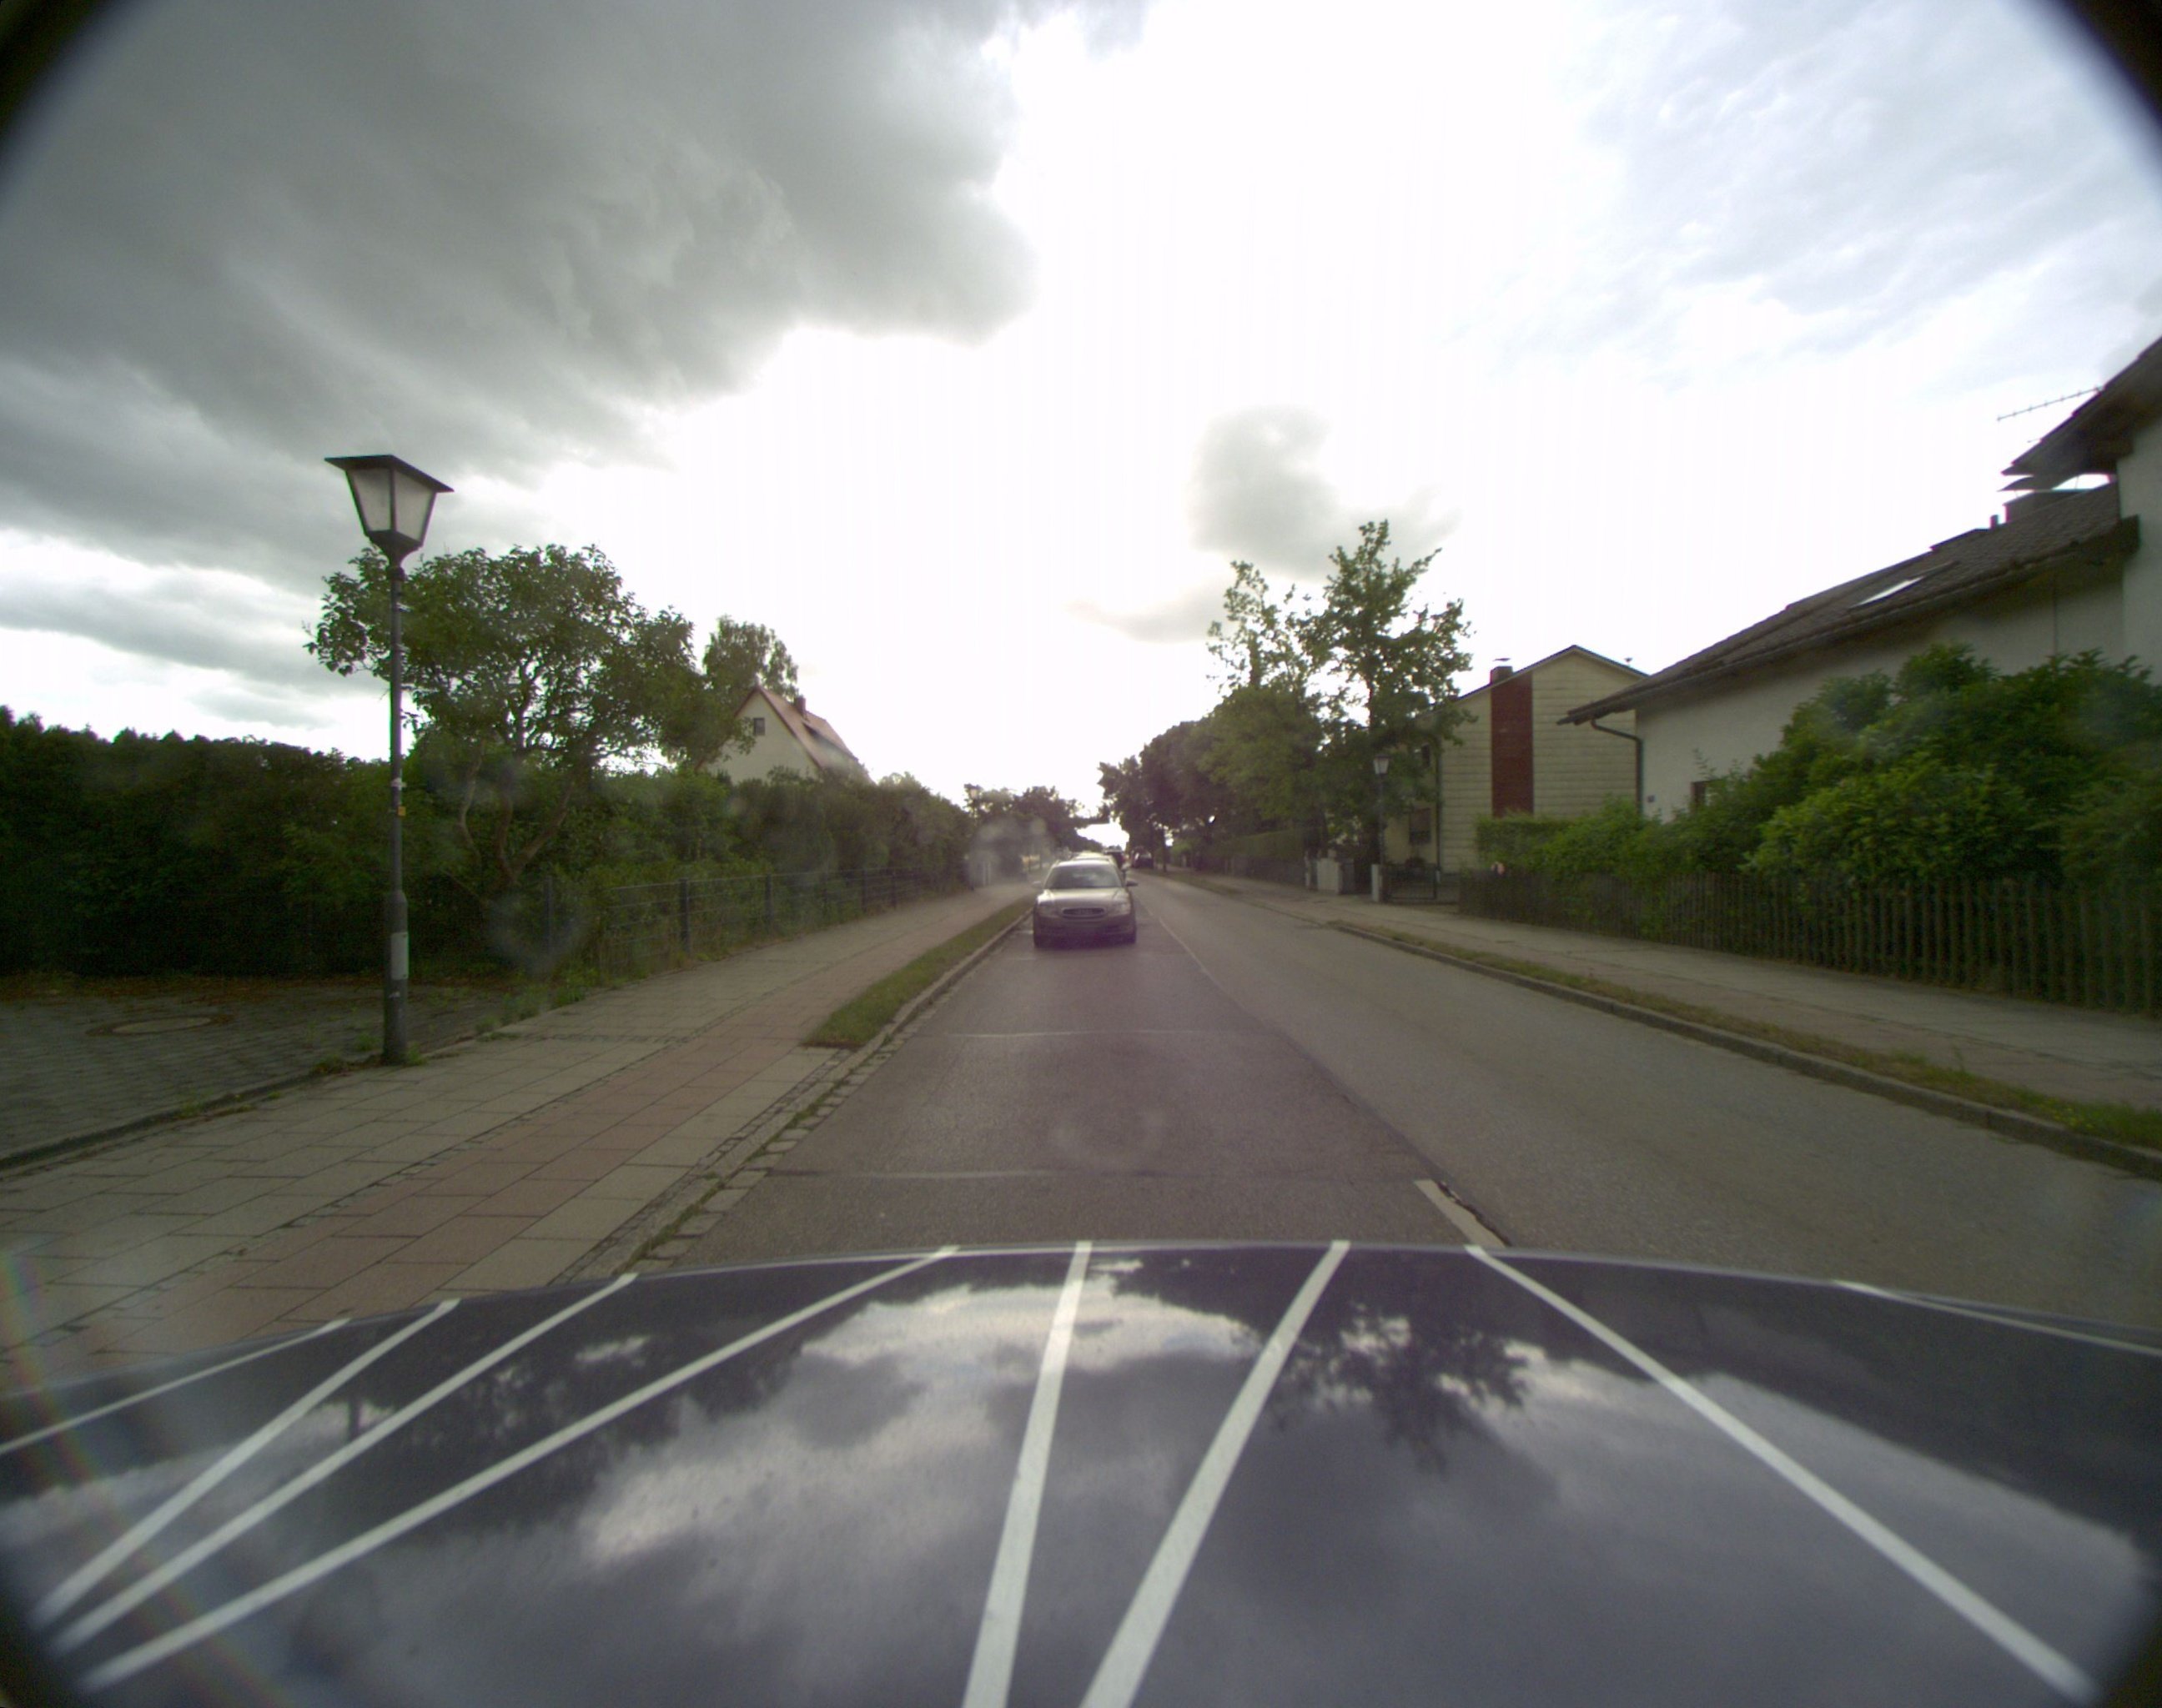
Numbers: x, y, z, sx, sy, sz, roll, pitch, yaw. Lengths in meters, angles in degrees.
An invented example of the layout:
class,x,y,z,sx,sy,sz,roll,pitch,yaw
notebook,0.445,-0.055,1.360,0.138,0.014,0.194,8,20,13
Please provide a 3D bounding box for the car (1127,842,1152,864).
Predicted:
class,x,y,z,sx,sy,sz,roll,pitch,yaw
car,6.365,-0.089,83.501,2.246,2.258,4.469,-1,0,-2

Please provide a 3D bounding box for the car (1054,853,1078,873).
class,x,y,z,sx,sy,sz,roll,pitch,yaw
car,-1.223,0.739,63.692,1.866,1.518,4.122,-1,0,-1

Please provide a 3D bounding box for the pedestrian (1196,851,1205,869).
class,x,y,z,sx,sy,sz,roll,pitch,yaw
pedestrian,9.417,0.494,59.978,0.631,1.429,0.563,-1,1,1

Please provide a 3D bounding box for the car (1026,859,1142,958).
class,x,y,z,sx,sy,sz,roll,pitch,yaw
car,0.071,0.874,14.162,1.809,1.476,4.270,-1,0,1

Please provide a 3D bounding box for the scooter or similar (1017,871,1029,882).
class,x,y,z,sx,sy,sz,roll,pitch,yaw
scooter or similar,-3.091,1.201,40.465,0.618,0.553,0.742,-1,0,-2

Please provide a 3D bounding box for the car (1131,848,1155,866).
class,x,y,z,sx,sy,sz,roll,pitch,yaw
car,6.341,0.260,77.662,1.999,1.739,3.999,-1,0,-2

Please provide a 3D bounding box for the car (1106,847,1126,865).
class,x,y,z,sx,sy,sz,roll,pitch,yaw
car,3.702,0.205,80.902,1.969,1.842,4.948,-1,0,2

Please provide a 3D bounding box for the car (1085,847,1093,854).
class,x,y,z,sx,sy,sz,roll,pitch,yaw
car,2.191,-1.009,210.677,1.998,2.002,4.000,-1,0,1

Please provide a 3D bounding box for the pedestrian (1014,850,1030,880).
class,x,y,z,sx,sy,sz,roll,pitch,yaw
pedestrian,-3.204,0.586,41.133,0.792,1.592,0.671,-1,1,-2

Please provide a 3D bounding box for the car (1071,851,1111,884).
class,x,y,z,sx,sy,sz,roll,pitch,yaw
car,0.501,0.646,38.274,1.866,1.518,4.122,-1,0,1

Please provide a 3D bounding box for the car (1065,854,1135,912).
class,x,y,z,sx,sy,sz,roll,pitch,yaw
car,0.553,0.806,23.191,1.866,1.518,4.943,-1,0,1
